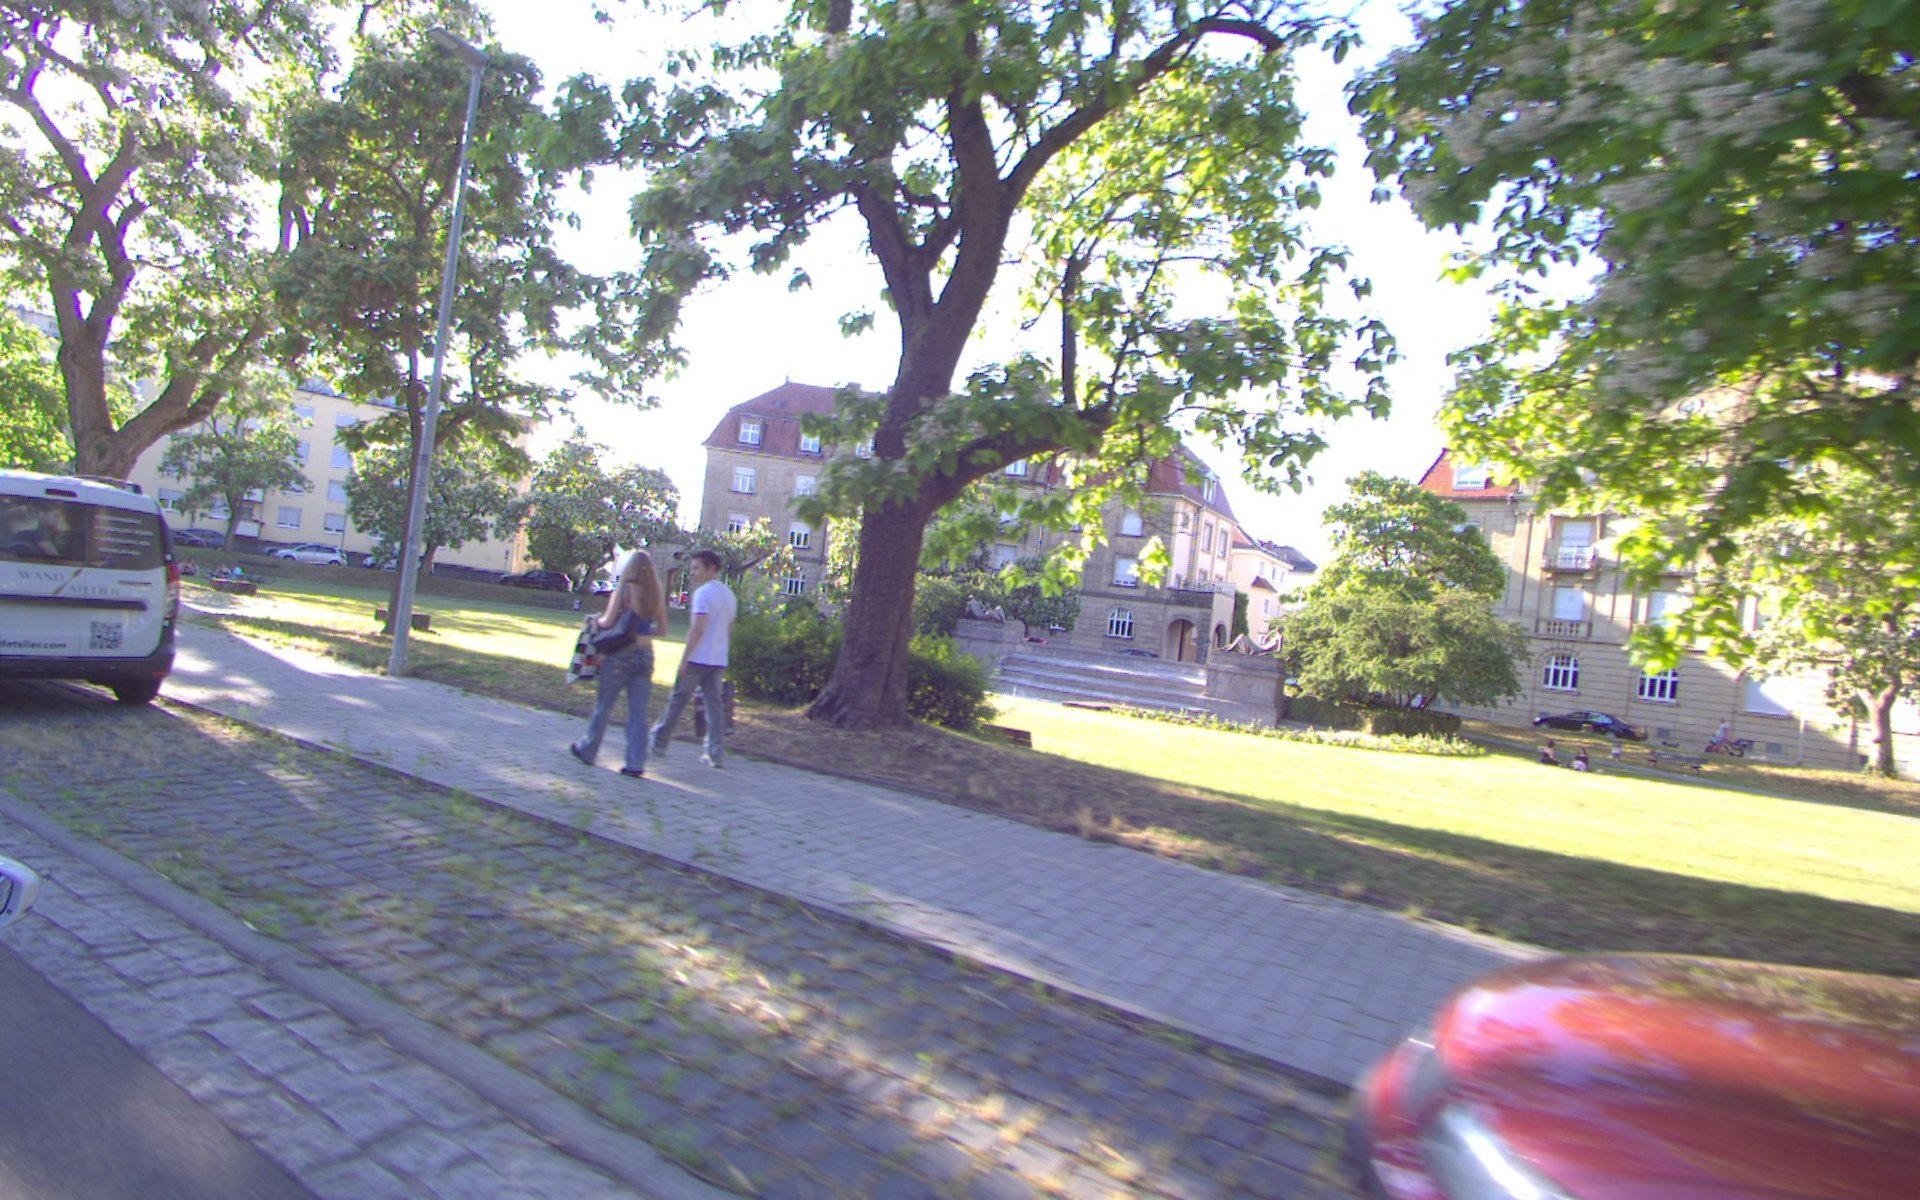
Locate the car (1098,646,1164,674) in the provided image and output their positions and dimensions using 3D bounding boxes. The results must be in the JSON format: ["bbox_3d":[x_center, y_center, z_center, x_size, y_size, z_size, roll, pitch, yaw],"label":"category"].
[{"bbox_3d":[11.818,4.169,69.750,4.029,1.434,1.816,6,-1,33],"label":"car"}]

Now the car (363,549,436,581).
[{"bbox_3d":[-42.046,-2.600,75.572,4.467,1.767,1.871,7,-1,-24],"label":"car"}]

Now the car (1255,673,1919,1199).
[{"bbox_3d":[2.968,1.150,1.253,4.730,1.504,1.681,6,-1,32],"label":"car"}]

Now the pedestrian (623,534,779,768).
[{"bbox_3d":[-2.101,0.412,8.190,0.719,1.756,0.726,7,-1,32],"label":"pedestrian"}]

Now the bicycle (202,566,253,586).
[{"bbox_3d":[-33.033,-1.071,45.417,1.755,0.622,1.796,8,-2,-34],"label":"bicycle"}]

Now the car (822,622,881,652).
[{"bbox_3d":[-8.133,2.772,75.380,3.925,1.725,2.002,8,-2,4],"label":"car"}]

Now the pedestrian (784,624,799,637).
[{"bbox_3d":[-10.852,1.969,64.911,0.655,0.803,0.587,6,-1,21],"label":"pedestrian"}]

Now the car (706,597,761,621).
[{"bbox_3d":[-18.411,0.738,81.806,3.925,1.470,1.881,7,-1,1],"label":"car"}]

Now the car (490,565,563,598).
[{"bbox_3d":[-31.448,-1.332,73.137,4.455,1.767,1.875,7,-1,-15],"label":"car"}]

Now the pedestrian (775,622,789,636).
[{"bbox_3d":[-11.541,1.874,65.225,0.655,0.803,0.587,6,-1,21],"label":"pedestrian"}]

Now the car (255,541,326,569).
[{"bbox_3d":[-47.935,-3.200,72.103,3.957,1.470,1.866,8,-1,-30],"label":"car"}]

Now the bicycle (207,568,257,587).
[{"bbox_3d":[-33.498,-1.036,46.344,1.755,0.622,1.796,8,-2,-34],"label":"bicycle"}]

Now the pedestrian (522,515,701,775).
[{"bbox_3d":[-2.550,0.332,7.392,0.719,1.756,0.754,7,-1,32],"label":"pedestrian"}]

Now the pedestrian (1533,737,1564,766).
[{"bbox_3d":[21.277,5.467,36.372,0.570,0.891,0.674,8,-2,-20],"label":"pedestrian"}]

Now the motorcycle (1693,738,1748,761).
[{"bbox_3d":[33.410,6.571,44.211,1.830,0.679,0.681,6,-1,34],"label":"motorcycle"}]

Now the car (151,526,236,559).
[{"bbox_3d":[-52.709,-3.960,69.234,4.493,1.588,1.860,8,-2,-40],"label":"car"}]

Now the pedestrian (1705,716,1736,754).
[{"bbox_3d":[33.437,5.923,44.247,0.935,1.493,0.681,6,-1,34],"label":"pedestrian"}]

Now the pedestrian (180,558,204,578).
[{"bbox_3d":[-36.713,-1.517,48.086,0.712,0.822,0.612,7,-2,33],"label":"pedestrian"}]

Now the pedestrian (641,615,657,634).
[{"bbox_3d":[-14.912,1.175,48.256,0.577,0.803,0.666,7,-1,-11],"label":"pedestrian"}]

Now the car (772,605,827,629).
[{"bbox_3d":[-13.051,1.412,81.845,3.924,1.470,1.882,7,-1,6],"label":"car"}]

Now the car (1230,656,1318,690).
[{"bbox_3d":[19.663,4.569,63.119,4.878,1.434,1.813,6,-1,39],"label":"car"}]

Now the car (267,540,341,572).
[{"bbox_3d":[-43.987,-2.935,67.577,3.958,1.570,1.598,8,-1,-31],"label":"car"}]

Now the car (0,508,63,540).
[{"bbox_3d":[-55.243,-4.545,58.731,4.182,1.480,1.673,8,-2,-43],"label":"car"}]

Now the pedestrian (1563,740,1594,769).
[{"bbox_3d":[22.409,5.603,36.445,0.570,0.891,0.674,8,-2,-20],"label":"pedestrian"}]

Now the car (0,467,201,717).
[{"bbox_3d":[-8.494,-0.217,8.513,4.439,1.760,1.681,6,-1,32],"label":"car"}]

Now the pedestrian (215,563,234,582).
[{"bbox_3d":[-35.435,-1.318,48.462,0.602,0.822,0.473,7,-2,33],"label":"pedestrian"}]

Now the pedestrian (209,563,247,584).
[{"bbox_3d":[-34.751,-1.249,47.752,1.239,0.822,0.573,8,-2,-13],"label":"pedestrian"}]

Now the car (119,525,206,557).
[{"bbox_3d":[-50.195,-3.707,63.443,4.175,1.373,1.676,8,-2,-38],"label":"car"}]

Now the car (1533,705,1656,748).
[{"bbox_3d":[32.177,6.405,51.161,1.802,1.434,4.907,7,-2,-33],"label":"car"}]
